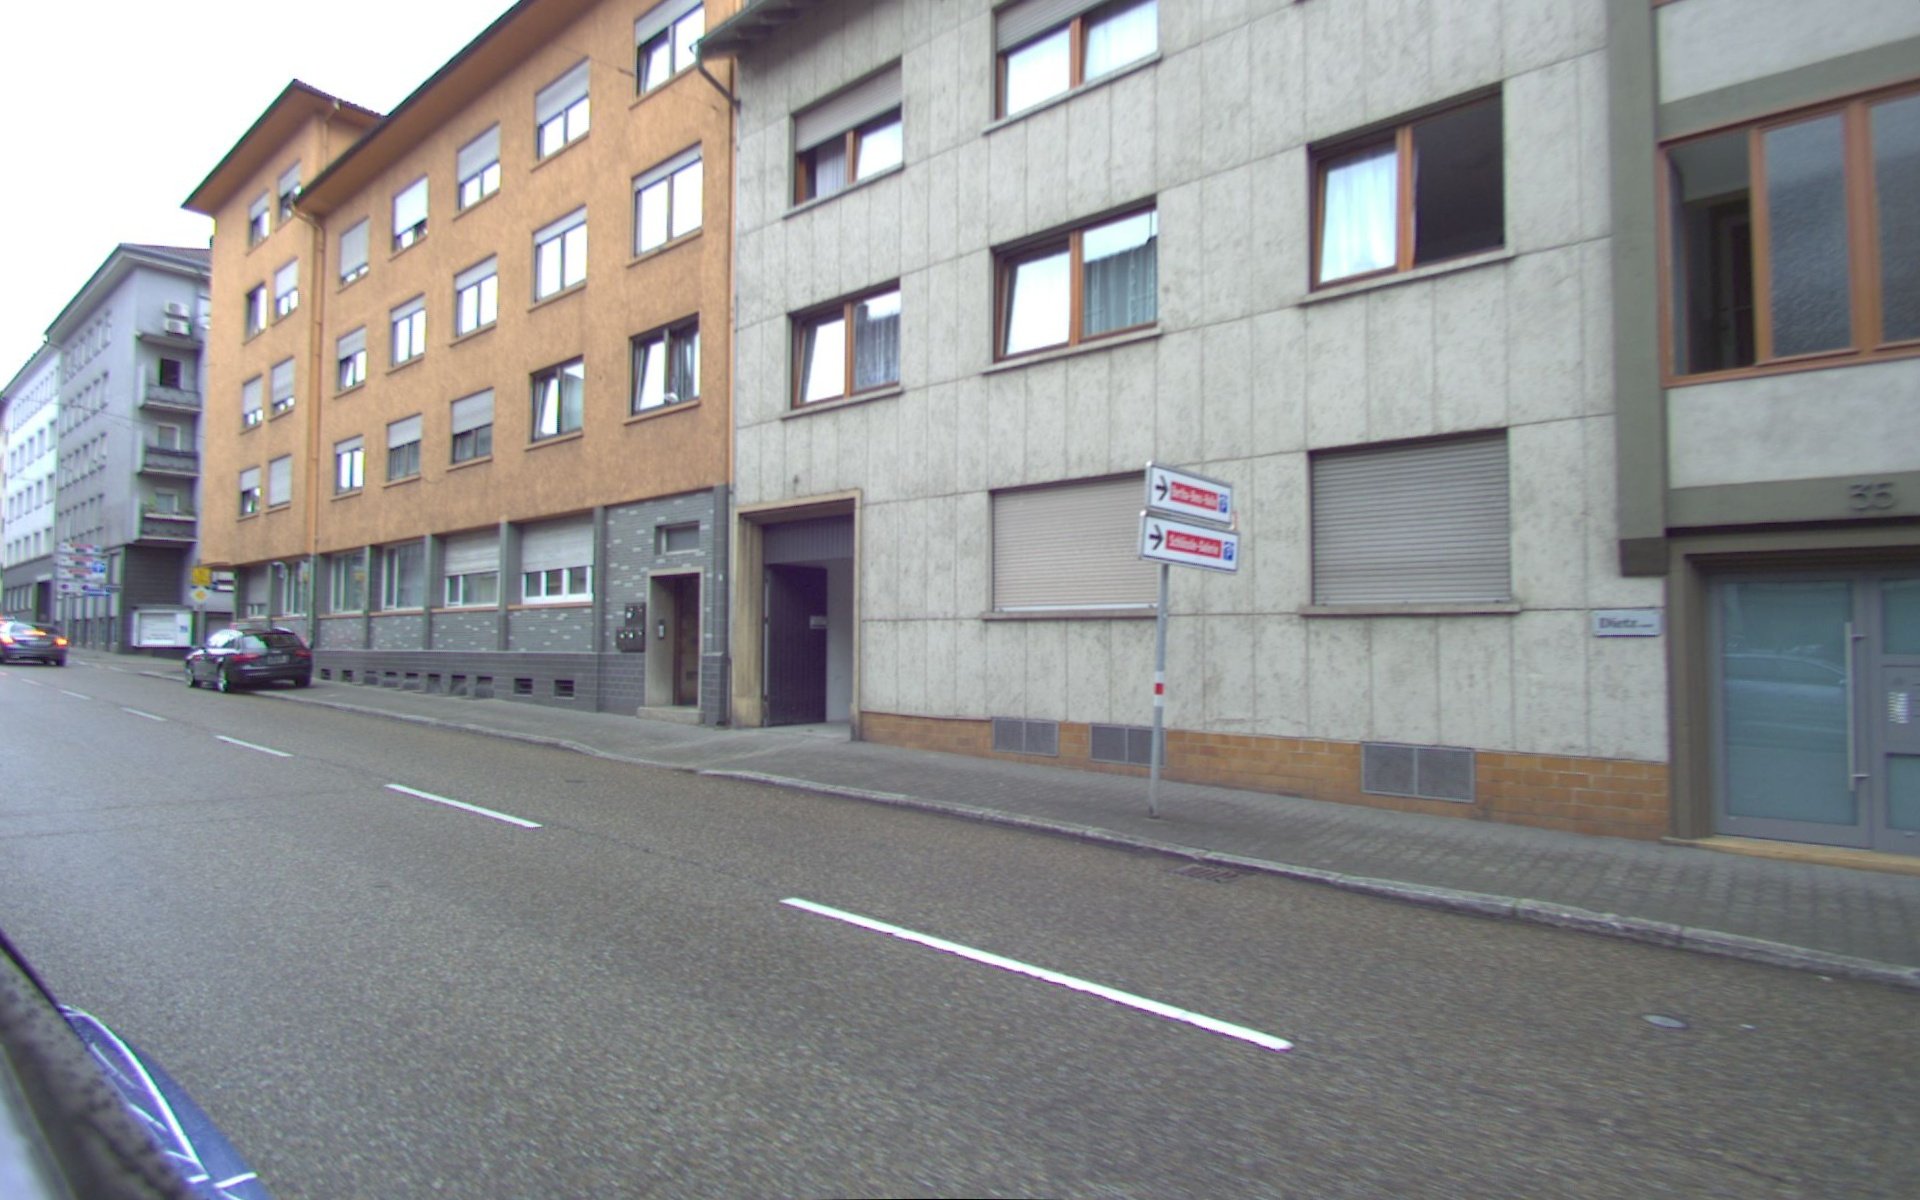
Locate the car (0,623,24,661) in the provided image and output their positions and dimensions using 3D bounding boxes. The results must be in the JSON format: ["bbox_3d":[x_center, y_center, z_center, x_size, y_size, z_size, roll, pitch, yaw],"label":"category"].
[{"bbox_3d":[-39.123,1.645,40.589,4.370,1.484,1.705,-1,-4,40],"label":"car"}]

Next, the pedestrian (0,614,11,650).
[{"bbox_3d":[-54.614,1.816,57.220,1.257,2.029,1.292,0,1,41],"label":"pedestrian"}]

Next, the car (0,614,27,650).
[{"bbox_3d":[-49.580,1.617,52.081,4.216,1.735,1.832,0,1,41],"label":"car"}]

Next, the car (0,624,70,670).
[{"bbox_3d":[-31.807,1.566,34.318,4.362,1.381,1.678,0,-4,40],"label":"car"}]

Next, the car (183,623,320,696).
[{"bbox_3d":[-17.360,1.380,24.727,4.216,1.485,1.776,0,1,41],"label":"car"}]
